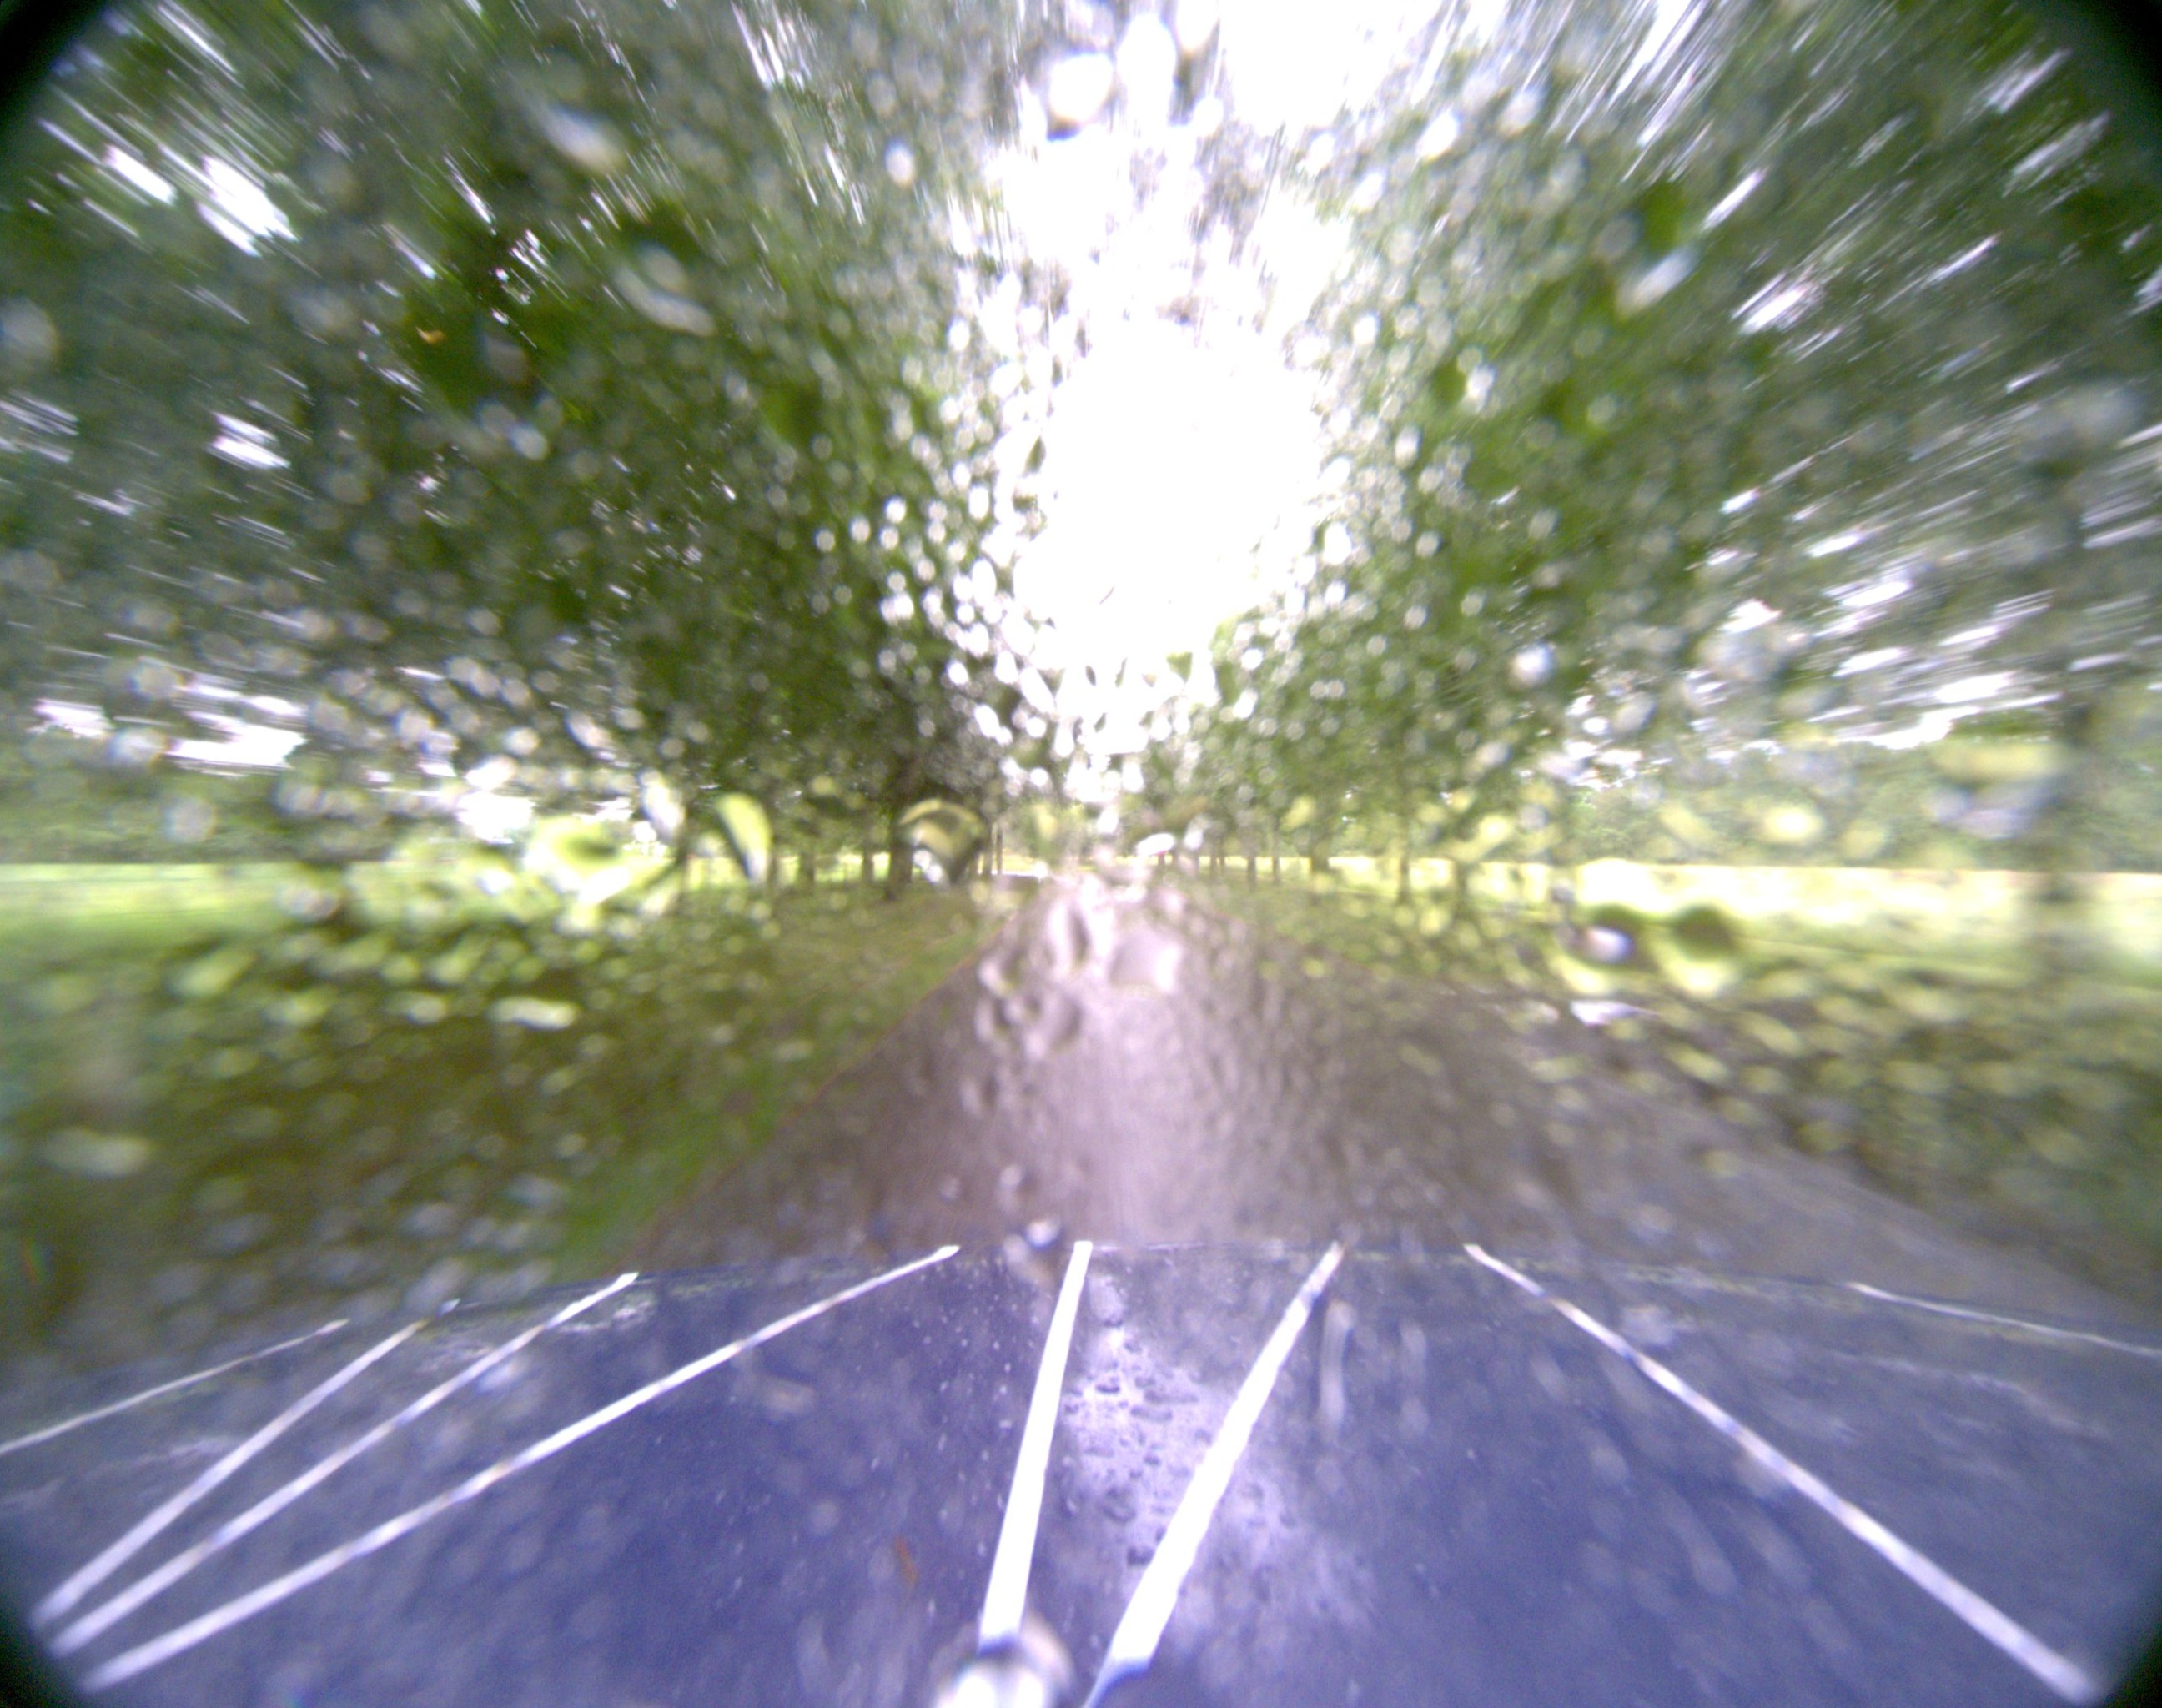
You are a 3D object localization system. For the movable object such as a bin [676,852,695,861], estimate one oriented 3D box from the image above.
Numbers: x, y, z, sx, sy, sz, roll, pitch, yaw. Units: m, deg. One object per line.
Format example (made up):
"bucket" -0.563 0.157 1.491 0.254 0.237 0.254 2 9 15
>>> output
"movable object such as a bin" -73.061 0.476 140.412 3.528 1.562 1.688 1 1 33
